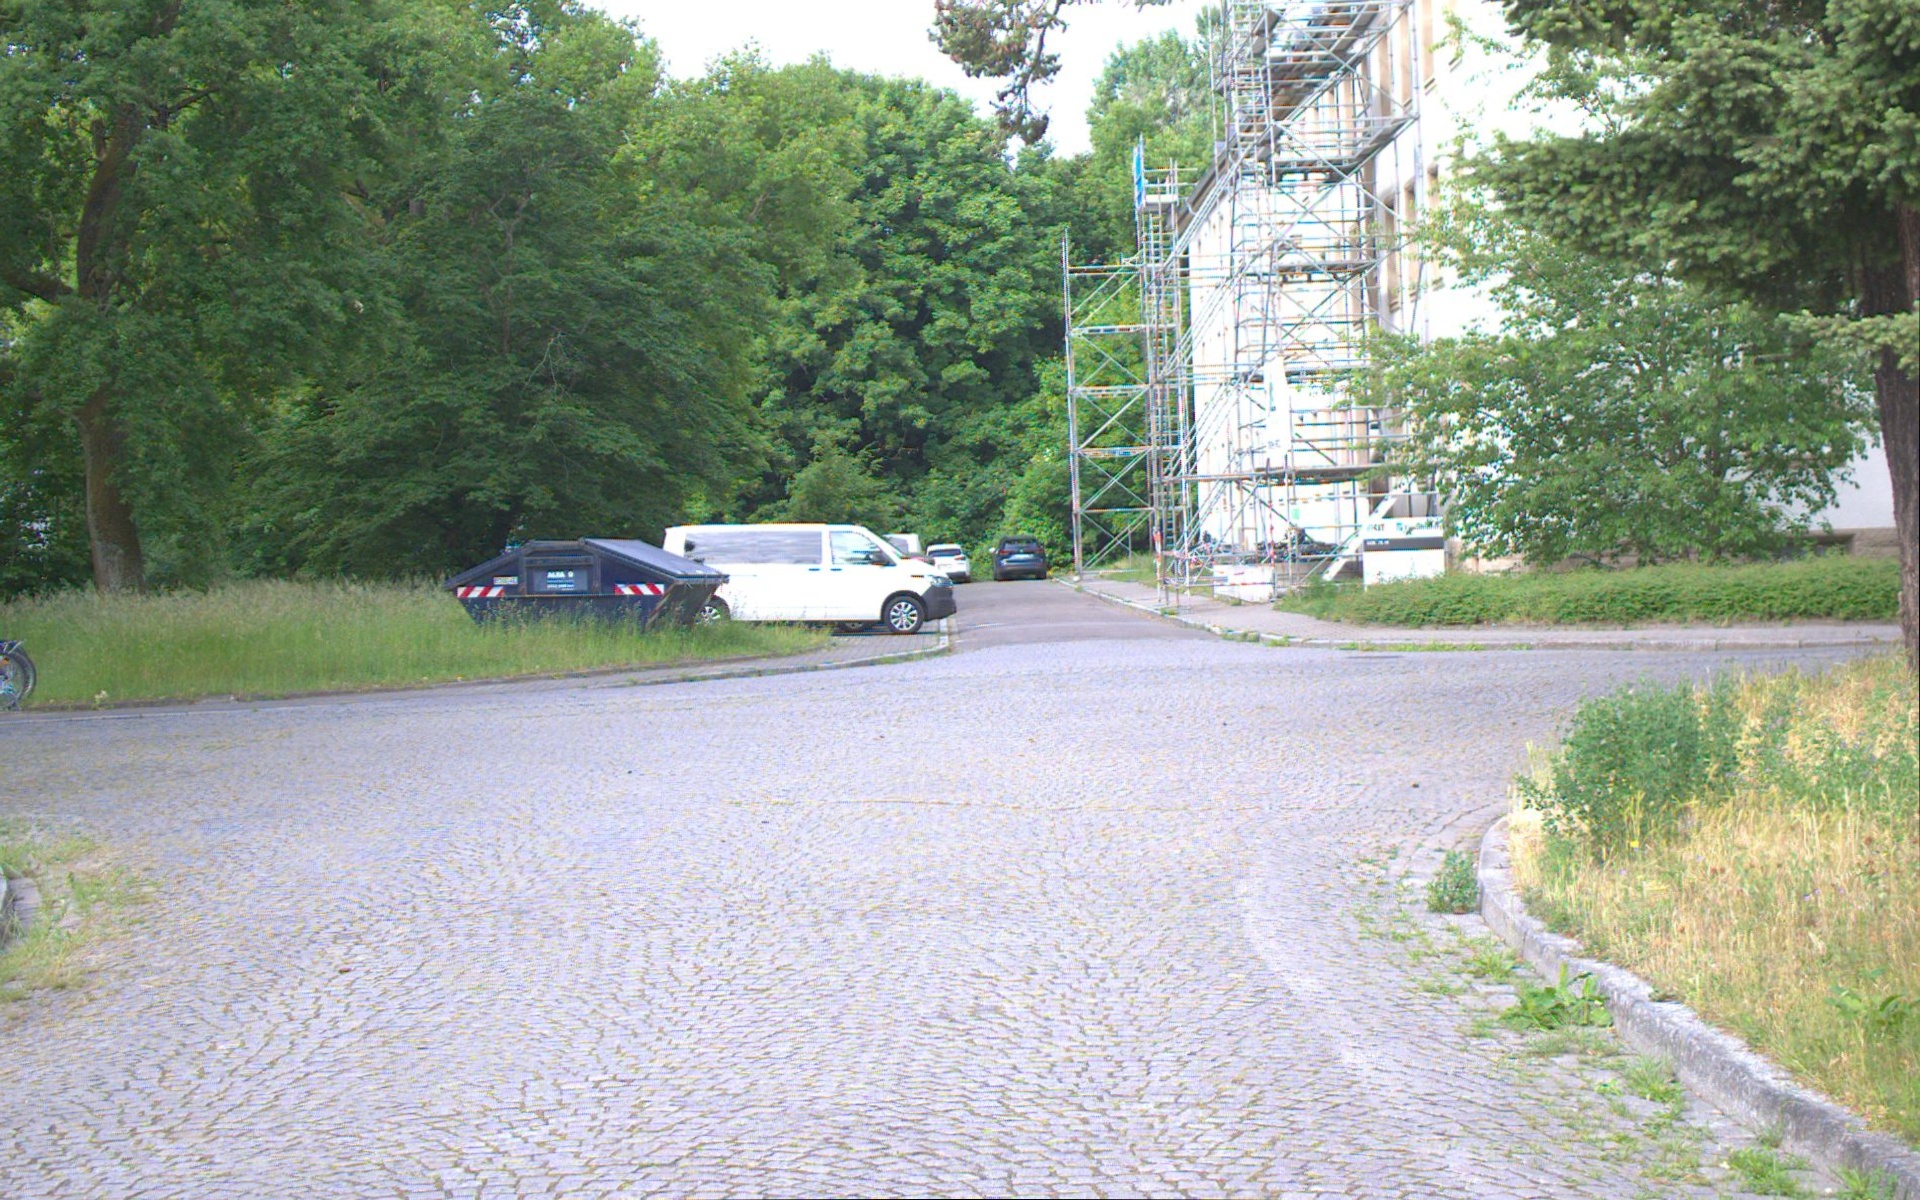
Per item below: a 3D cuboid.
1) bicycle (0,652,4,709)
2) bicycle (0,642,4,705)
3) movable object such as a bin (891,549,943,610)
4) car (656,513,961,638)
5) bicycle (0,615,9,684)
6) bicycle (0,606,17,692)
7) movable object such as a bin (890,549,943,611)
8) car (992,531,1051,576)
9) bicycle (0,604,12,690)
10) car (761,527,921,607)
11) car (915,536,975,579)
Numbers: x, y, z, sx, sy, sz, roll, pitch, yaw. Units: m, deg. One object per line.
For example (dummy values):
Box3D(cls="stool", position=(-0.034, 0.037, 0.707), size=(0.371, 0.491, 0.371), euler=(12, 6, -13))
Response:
Box3D(cls="bicycle", position=(-12.449, 0.796, 41.262), size=(1.767, 1.099, 0.703), euler=(-4, 4, -19))
Box3D(cls="bicycle", position=(-12.656, 0.775, 41.977), size=(1.793, 1.099, 0.703), euler=(-4, 4, -19))
Box3D(cls="movable object such as a bin", position=(-0.993, -0.470, 79.742), size=(1.183, 1.402, 0.975), euler=(0, 0, 1))
Box3D(cls="car", position=(-2.617, -0.430, 60.253), size=(5.200, 2.053, 2.188), euler=(-1, 0, -1))
Box3D(cls="bicycle", position=(-13.845, 0.724, 46.847), size=(1.616, 0.907, 0.527), euler=(-4, 4, -19))
Box3D(cls="bicycle", position=(-13.379, 0.696, 45.265), size=(1.770, 1.101, 0.542), euler=(-4, 3, -19))
Box3D(cls="movable object such as a bin", position=(-0.998, -0.458, 78.560), size=(1.183, 1.402, 0.975), euler=(0, 0, 1))
Box3D(cls="car", position=(2.269, -1.703, 126.555), size=(2.063, 1.588, 4.000), euler=(0, 0, 3))
Box3D(cls="bicycle", position=(-13.549, 0.673, 45.779), size=(1.696, 1.112, 0.542), euler=(-4, 3, -19))
Box3D(cls="car", position=(-3.059, -0.839, 87.774), size=(3.986, 2.007, 1.922), euler=(0, 0, -4))
Box3D(cls="car", position=(-0.575, -1.552, 126.258), size=(2.001, 1.542, 3.959), euler=(0, 0, -3))
